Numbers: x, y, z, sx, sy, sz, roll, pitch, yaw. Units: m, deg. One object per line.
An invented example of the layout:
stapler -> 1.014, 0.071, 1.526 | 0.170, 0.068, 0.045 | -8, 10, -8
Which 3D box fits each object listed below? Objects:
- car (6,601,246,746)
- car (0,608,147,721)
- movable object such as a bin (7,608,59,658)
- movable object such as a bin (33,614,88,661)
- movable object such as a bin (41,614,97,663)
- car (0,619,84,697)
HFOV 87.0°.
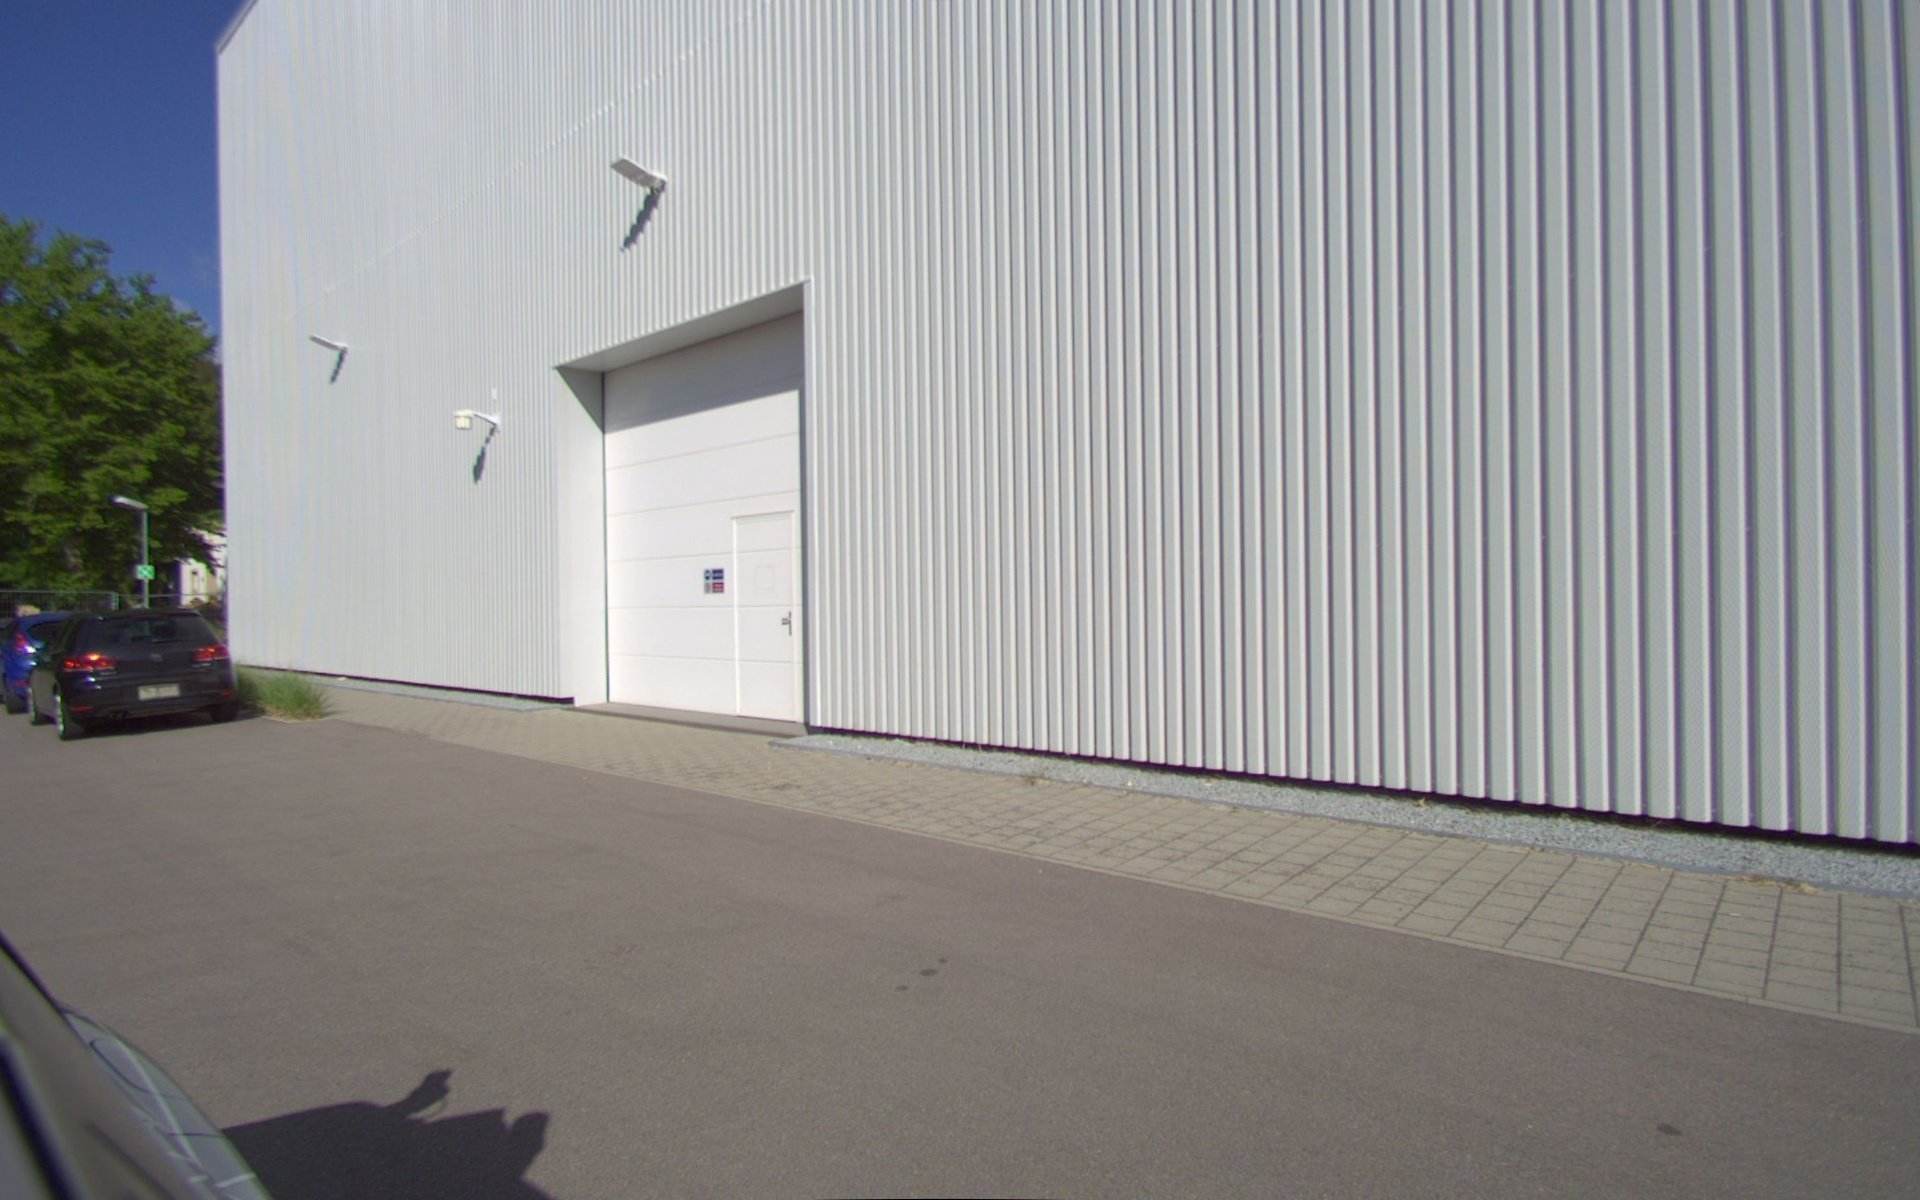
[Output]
car -> -10.913, 0.834, 13.137 | 4.292, 1.511, 1.736 | -1, 1, 42
car -> -14.643, 0.955, 16.302 | 4.092, 1.511, 1.614 | -1, 2, 40
movable object such as a bin -> -31.215, 1.080, 34.078 | 1.228, 1.609, 1.080 | 1, 1, 36
movable object such as a bin -> -29.485, 1.196, 33.181 | 1.228, 1.450, 1.080 | 0, 2, 36
movable object such as a bin -> -28.459, 1.212, 32.329 | 1.228, 1.443, 1.080 | 0, 2, 36
car -> -18.752, 1.094, 19.872 | 4.051, 1.371, 1.756 | -1, 0, 41
